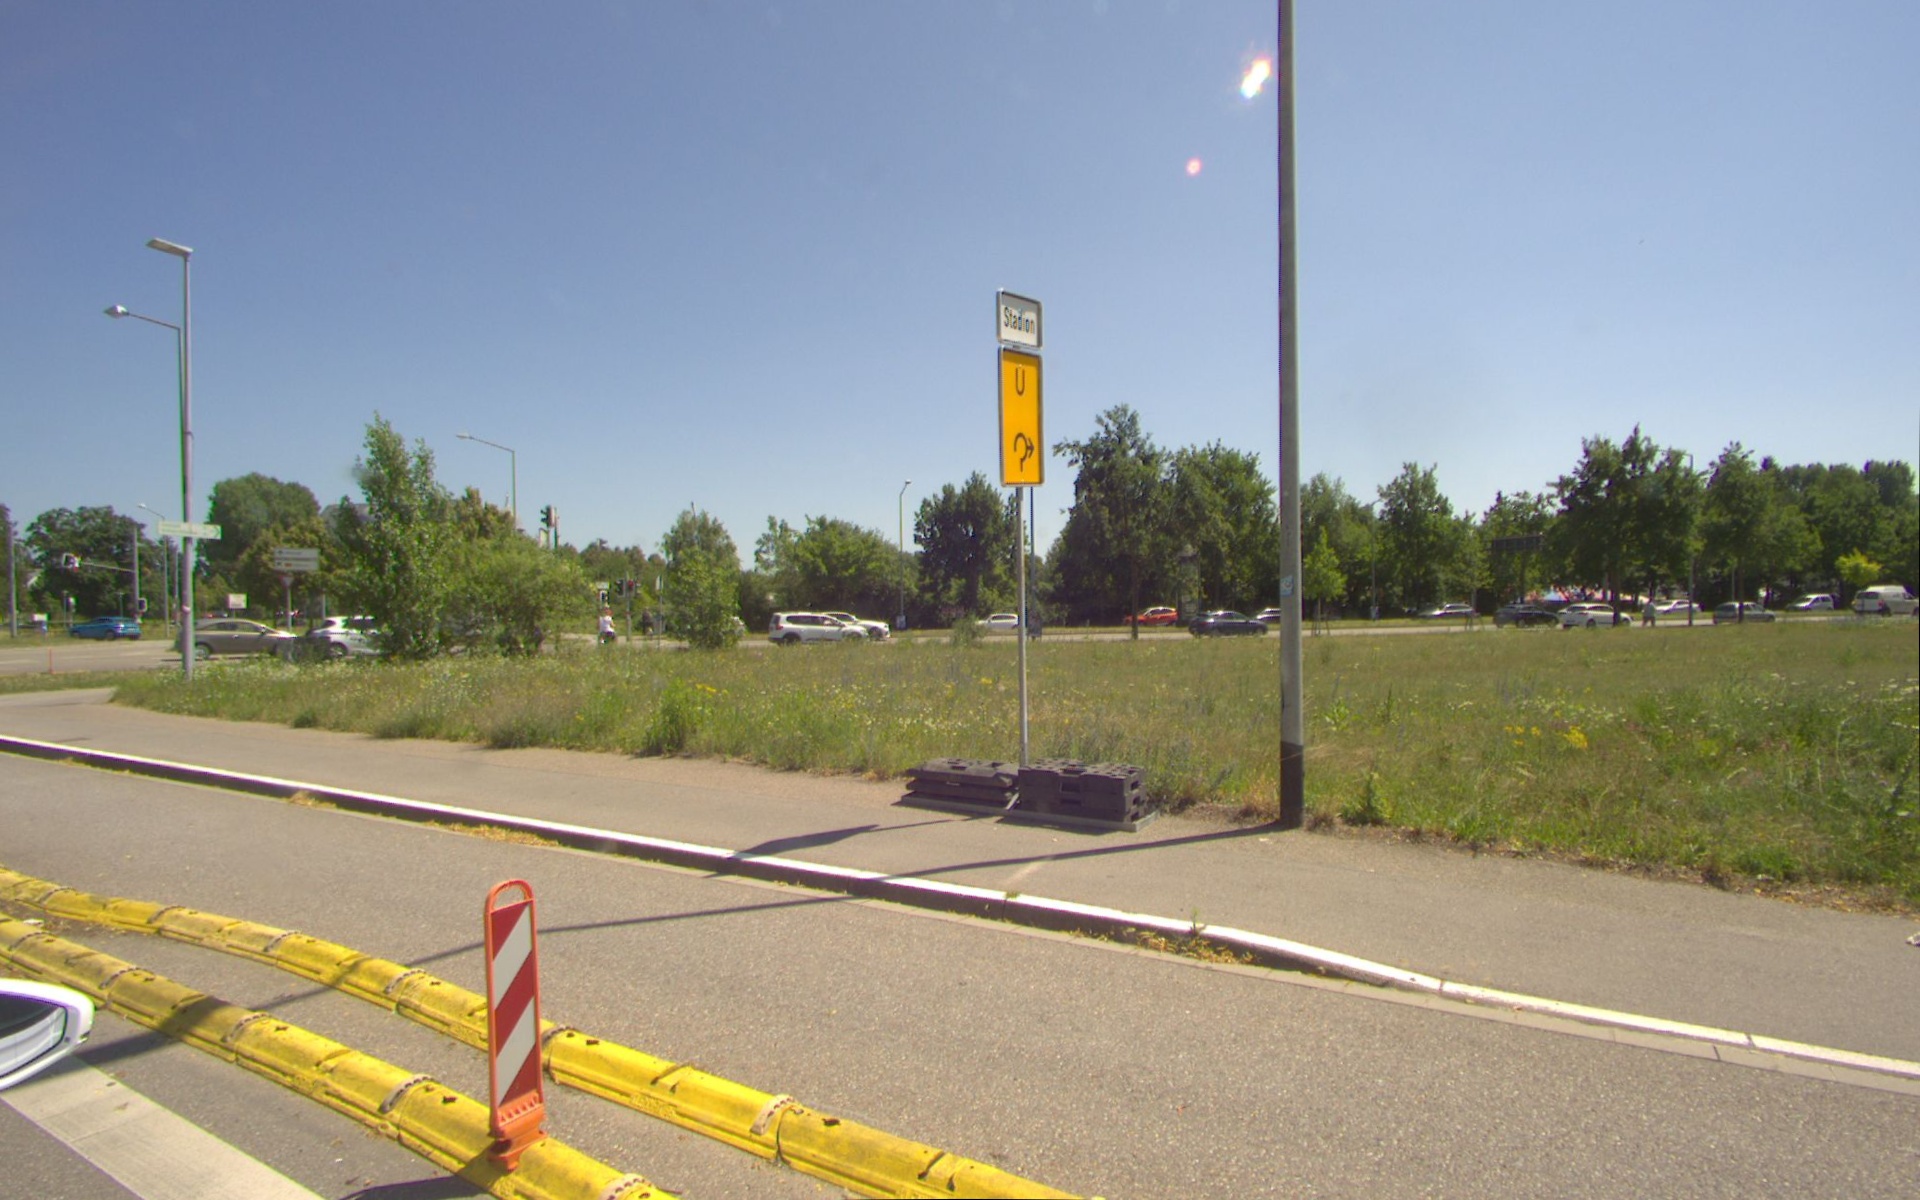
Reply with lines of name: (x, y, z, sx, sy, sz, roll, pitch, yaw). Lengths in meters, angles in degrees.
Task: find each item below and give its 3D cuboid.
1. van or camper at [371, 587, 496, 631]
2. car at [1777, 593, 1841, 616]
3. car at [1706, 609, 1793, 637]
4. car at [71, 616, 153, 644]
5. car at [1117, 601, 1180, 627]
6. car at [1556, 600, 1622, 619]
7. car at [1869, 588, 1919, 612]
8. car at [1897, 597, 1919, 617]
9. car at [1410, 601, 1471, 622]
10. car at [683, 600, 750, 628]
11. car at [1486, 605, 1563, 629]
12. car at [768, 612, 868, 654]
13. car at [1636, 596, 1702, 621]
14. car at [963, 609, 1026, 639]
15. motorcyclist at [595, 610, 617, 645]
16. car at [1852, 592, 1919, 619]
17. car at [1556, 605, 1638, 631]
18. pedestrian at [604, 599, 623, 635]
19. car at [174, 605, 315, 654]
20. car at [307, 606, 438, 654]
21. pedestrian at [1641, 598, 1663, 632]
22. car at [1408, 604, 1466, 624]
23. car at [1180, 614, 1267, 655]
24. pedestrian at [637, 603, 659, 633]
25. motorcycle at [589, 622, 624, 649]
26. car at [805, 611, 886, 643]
van or camper: (-33.730, 0.628, 64.168, 7.375, 2.728, 2.511, -1, -1, 16)
car: (77.054, 0.403, 90.895, 4.993, 2.040, 1.997, 0, -1, -15)
car: (48.665, 1.415, 61.707, 4.855, 1.727, 1.995, 0, -1, -20)
car: (-56.972, 2.013, 67.306, 3.922, 1.861, 2.000, 0, -1, 2)
car: (12.842, 0.983, 68.264, 3.690, 1.739, 1.998, 0, -1, -13)
car: (52.034, 0.801, 82.871, 4.696, 1.590, 1.997, 0, -1, -15)
car: (83.227, 0.029, 88.453, 4.993, 2.040, 1.997, 0, -1, -15)
car: (91.369, 0.659, 94.649, 4.522, 1.874, 1.997, 0, -1, -16)
car: (35.734, 0.877, 74.514, 3.928, 1.572, 1.738, 0, -1, -16)
car: (-15.507, 0.932, 63.898, 3.922, 1.750, 1.738, 0, -1, -2)
car: (34.544, 1.035, 61.247, 3.931, 1.425, 1.996, 0, -1, -19)
car: (-6.371, 1.450, 44.940, 4.189, 1.839, 1.996, 0, -1, -18)
car: (57.554, 0.714, 81.270, 4.491, 2.002, 1.997, 0, -1, -15)
car: (2.348, 1.649, 68.440, 3.928, 2.040, 1.997, 0, -1, -15)
motorcyclist: (-13.151, 1.028, 37.232, 0.570, 1.306, 0.615, 0, -1, 3)
car: (67.876, 0.423, 72.931, 4.897, 1.874, 1.997, 0, -1, -16)
car: (36.812, 1.049, 57.882, 3.946, 1.463, 1.632, 0, -1, -11)
pedestrian: (-18.349, 0.893, 52.955, 0.726, 1.894, 0.648, -1, -1, 34)
car: (-26.441, 1.070, 37.094, 1.631, 1.517, 3.961, -1, 2, 44)
car: (-21.132, 1.053, 36.075, 3.962, 1.641, 1.669, 1, -1, -36)
pedestrian: (32.629, 0.695, 47.222, 0.724, 1.583, 0.497, 0, 0, -18)
car: (37.353, 1.124, 78.486, 3.928, 1.572, 1.738, 0, -1, -16)
car: (13.570, 1.757, 51.647, 3.932, 2.040, 1.996, 0, -1, -20)
pedestrian: (-16.546, 0.956, 53.134, 0.811, 1.583, 0.790, -1, -1, 34)
motorcycle: (-13.126, 1.319, 37.187, 0.619, 0.982, 1.709, 0, -1, 3)
car: (-5.880, 1.363, 51.230, 3.926, 1.605, 1.838, 0, -1, -12)
